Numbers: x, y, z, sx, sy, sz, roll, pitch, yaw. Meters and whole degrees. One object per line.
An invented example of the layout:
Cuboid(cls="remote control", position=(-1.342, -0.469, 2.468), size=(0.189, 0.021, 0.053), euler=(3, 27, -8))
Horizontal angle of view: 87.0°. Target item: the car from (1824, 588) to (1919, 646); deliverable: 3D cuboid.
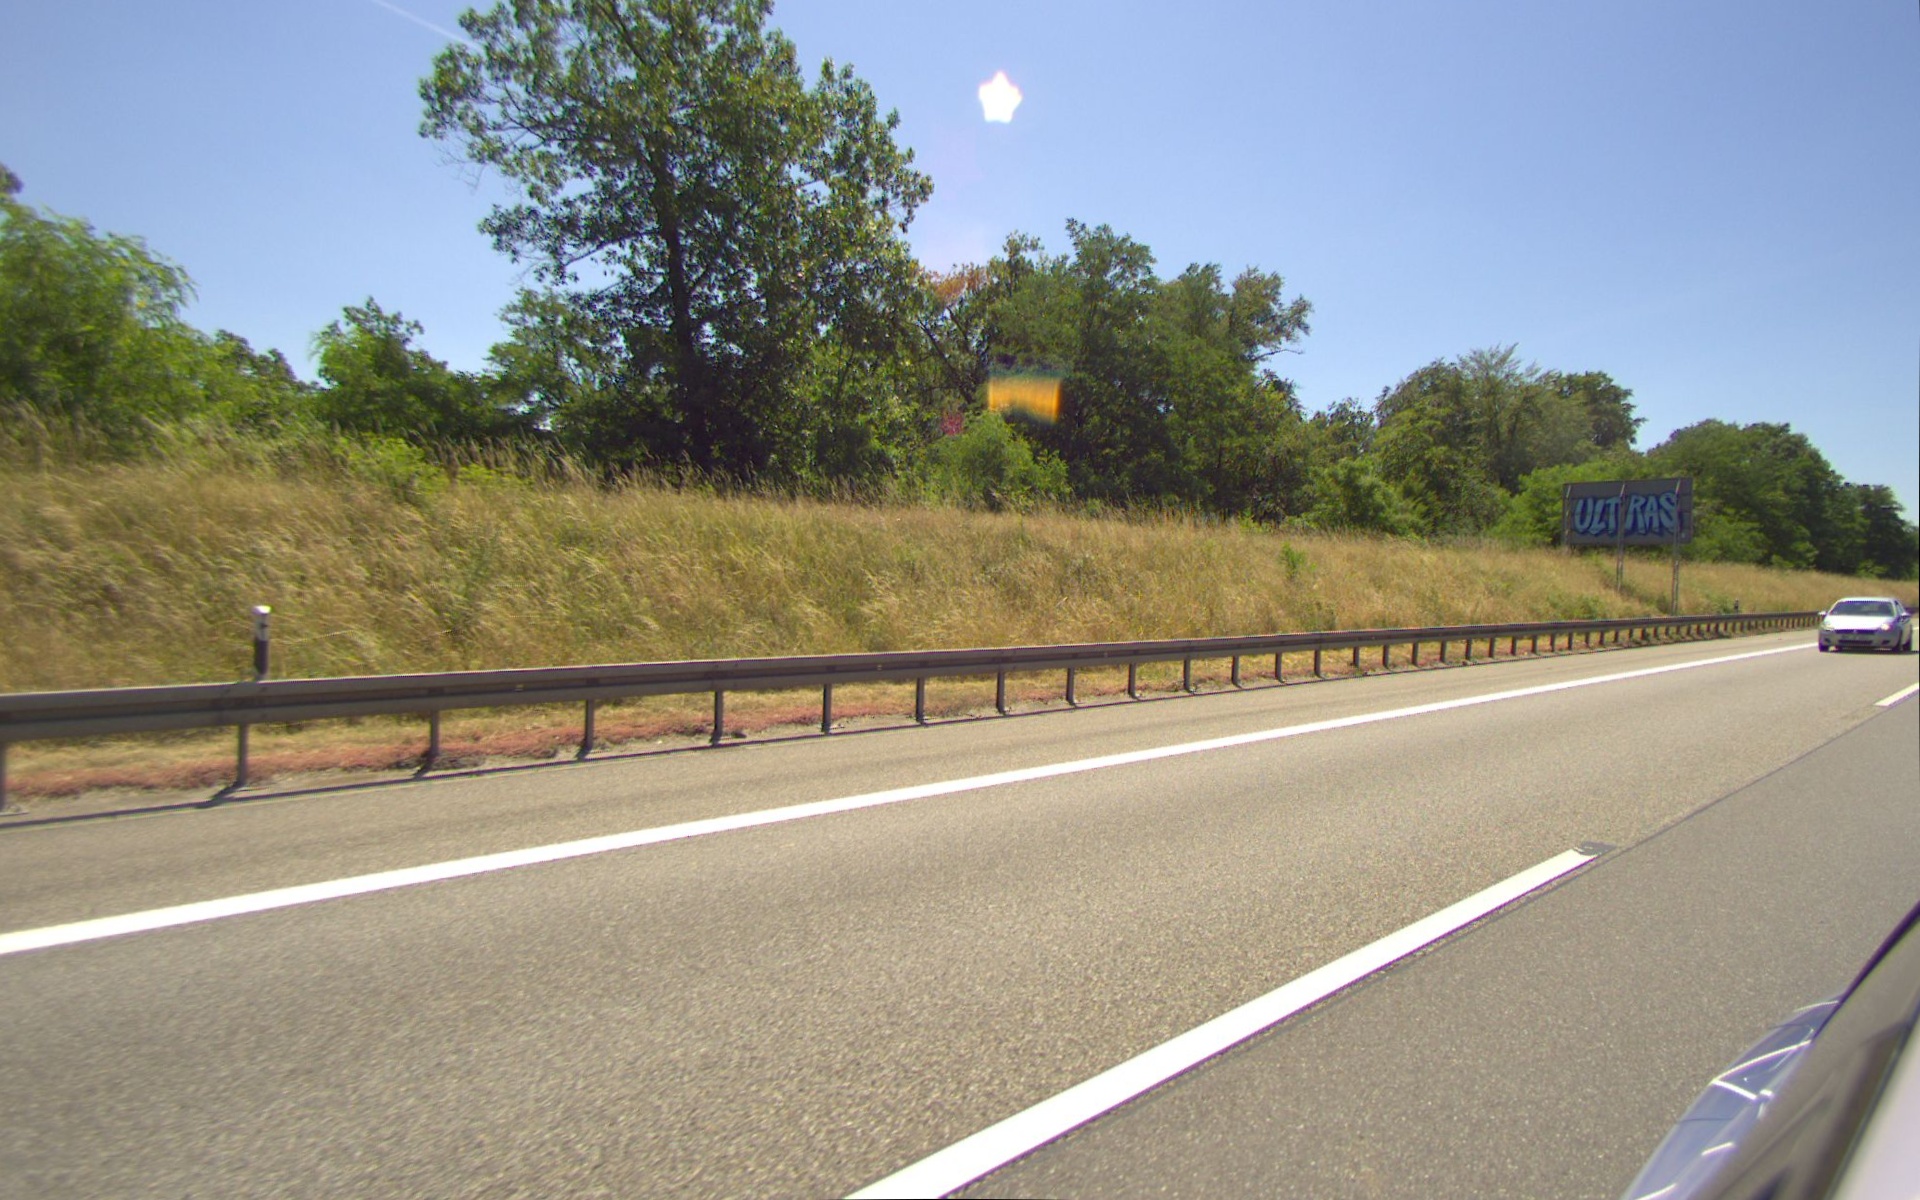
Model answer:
Cuboid(cls="car", position=(24.977, 0.413, 27.455), size=(3.910, 1.484, 1.748), euler=(-1, 0, -41))
